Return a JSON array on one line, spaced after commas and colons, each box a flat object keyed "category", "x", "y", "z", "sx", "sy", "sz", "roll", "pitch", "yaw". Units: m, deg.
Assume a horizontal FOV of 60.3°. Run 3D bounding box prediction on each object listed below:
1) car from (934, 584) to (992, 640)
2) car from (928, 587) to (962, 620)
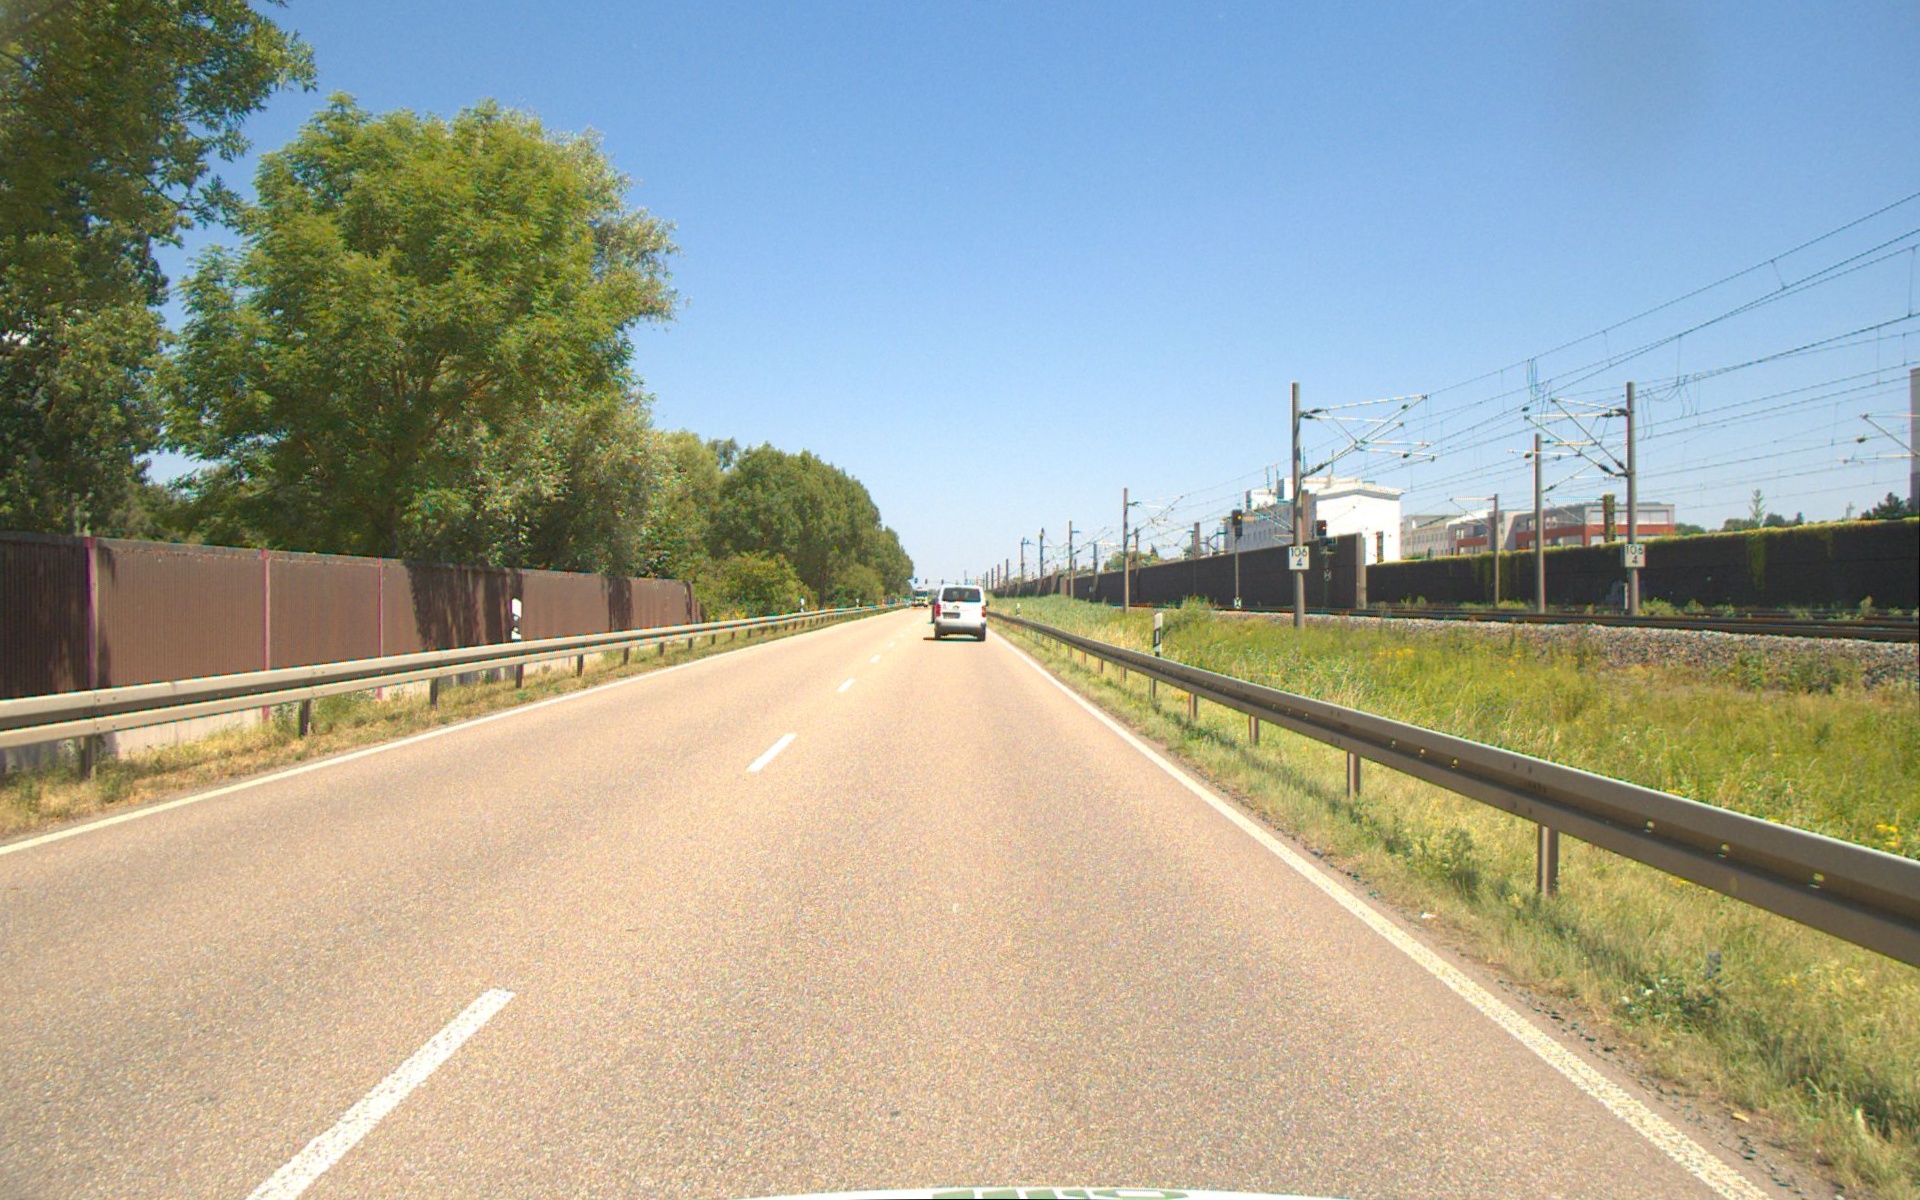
[{"category": "car", "x": 0.094, "y": 0.425, "z": 59.501, "sx": 1.953, "sy": 1.882, "sz": 3.999, "roll": 2, "pitch": 0, "yaw": -1}, {"category": "car", "x": -0.905, "y": 0.202, "z": 99.888, "sx": 1.953, "sy": 1.882, "sz": 3.999, "roll": 2, "pitch": 0, "yaw": -1}]
